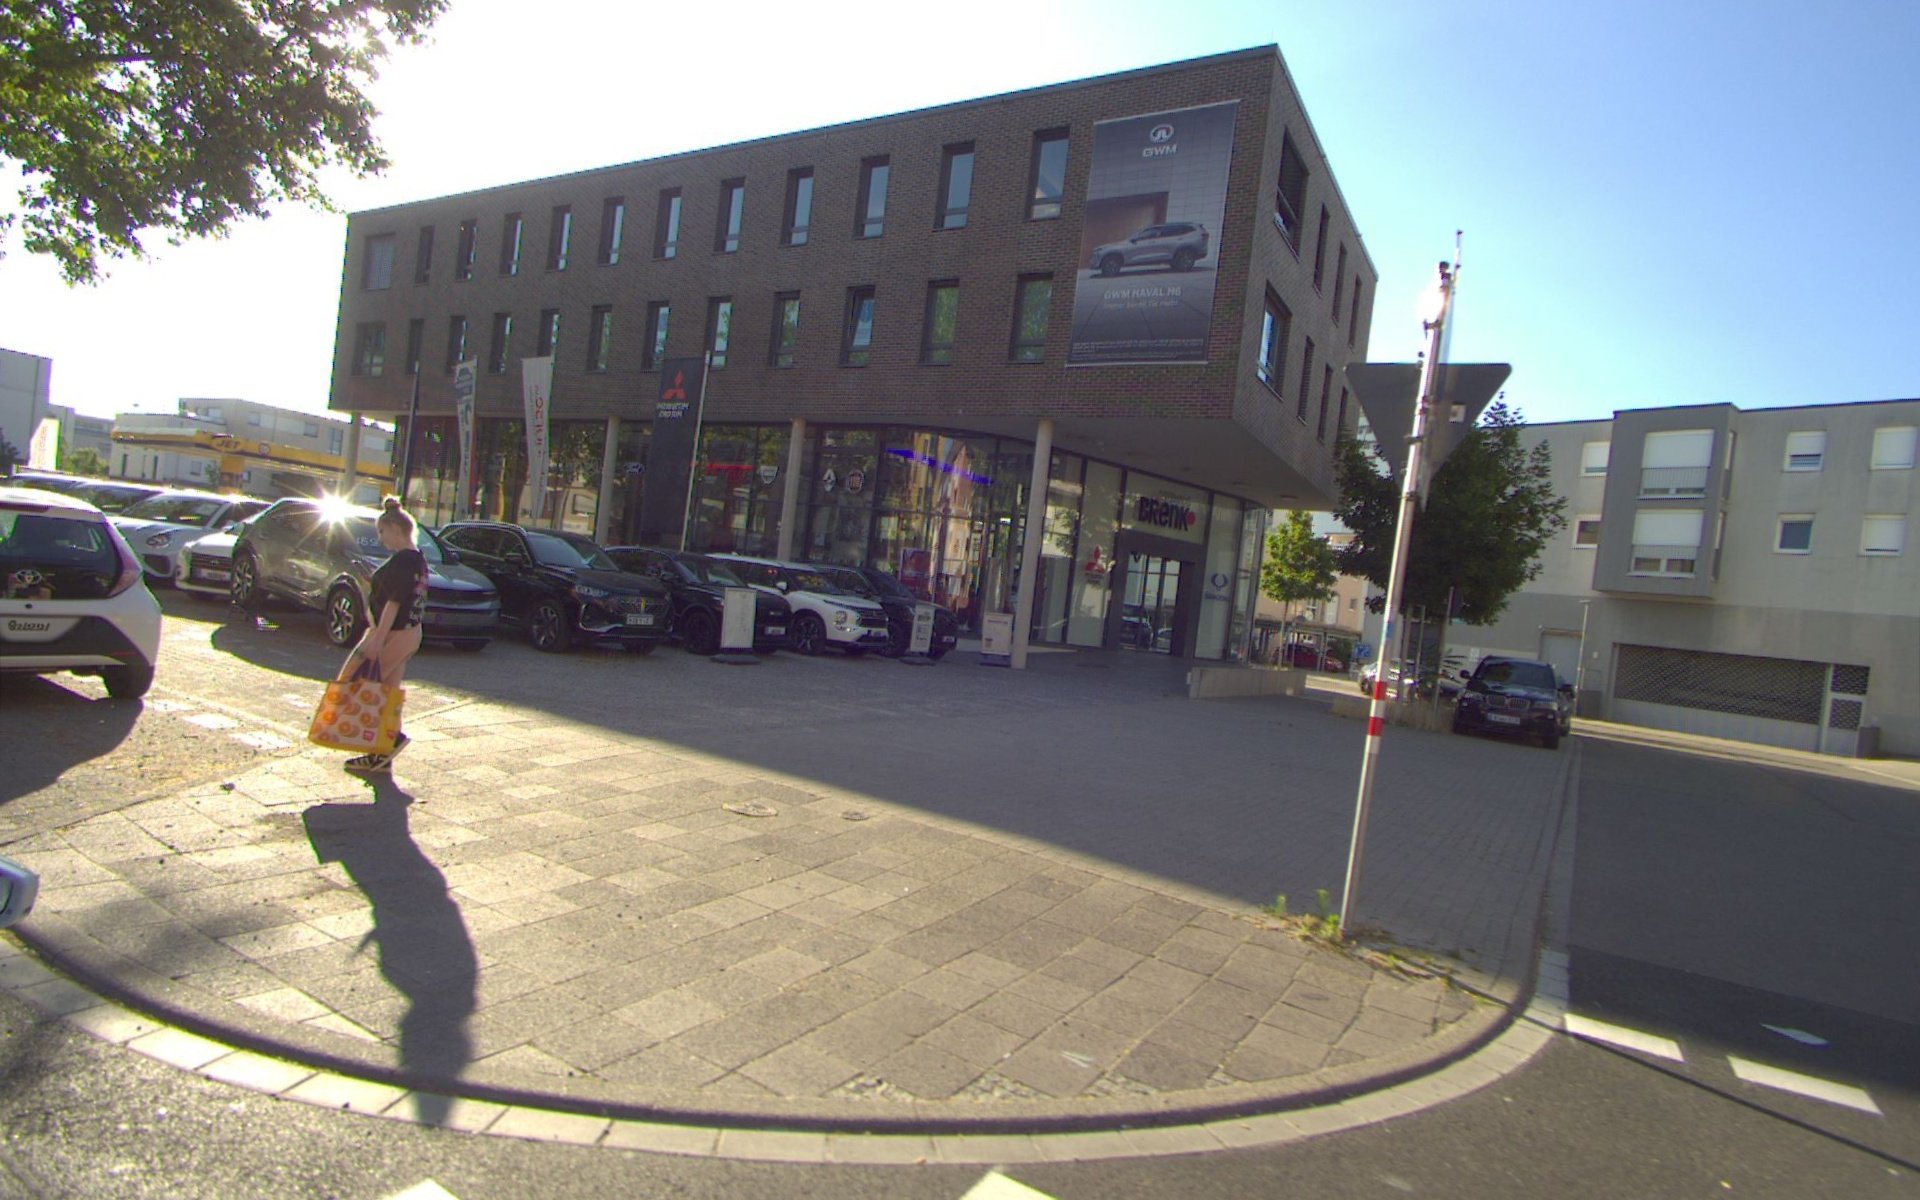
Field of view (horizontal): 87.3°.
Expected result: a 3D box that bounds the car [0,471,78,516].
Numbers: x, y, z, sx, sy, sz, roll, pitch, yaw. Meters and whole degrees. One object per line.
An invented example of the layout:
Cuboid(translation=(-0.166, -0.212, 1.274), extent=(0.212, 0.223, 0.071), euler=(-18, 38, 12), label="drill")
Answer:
Cuboid(translation=(-44.738, -5.121, 47.919), extent=(1.806, 1.733, 3.837), euler=(6, 1, 5), label="car")

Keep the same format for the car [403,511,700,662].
Cuboid(translation=(-6.293, -0.226, 15.381), extent=(4.294, 1.753, 1.828), euler=(7, 1, 30), label="car")

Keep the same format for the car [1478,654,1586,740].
Cuboid(translation=(14.409, 2.333, 25.222), extent=(1.997, 1.684, 4.485), euler=(8, 1, 32), label="car")

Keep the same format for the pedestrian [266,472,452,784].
Cuboid(translation=(-3.637, 0.170, 6.154), extent=(0.683, 1.745, 0.718), euler=(6, 1, -18), label="pedestrian")

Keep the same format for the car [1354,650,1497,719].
Cuboid(translation=(14.685, 2.621, 32.076), extent=(1.767, 1.517, 4.870), euler=(7, 0, -6), label="car")

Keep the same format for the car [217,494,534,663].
Cuboid(translation=(-7.644, -0.304, 13.063), extent=(4.089, 1.691, 1.753), euler=(7, 1, 32), label="car")

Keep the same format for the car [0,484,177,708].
Cuboid(translation=(-7.974, -0.194, 7.803), extent=(3.954, 1.487, 1.636), euler=(6, 2, 31), label="car")

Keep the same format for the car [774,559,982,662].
Cuboid(translation=(-1.855, 0.224, 22.338), extent=(4.112, 1.755, 1.987), euler=(7, 1, 33), label="car")

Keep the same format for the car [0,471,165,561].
Cuboid(translation=(-18.659, -1.719, 20.690), extent=(1.715, 1.599, 3.814), euler=(7, 1, -5), label="car")

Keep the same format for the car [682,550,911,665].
Cuboid(translation=(-3.284, 0.135, 20.089), extent=(4.109, 1.755, 1.878), euler=(7, 1, 30), label="car")

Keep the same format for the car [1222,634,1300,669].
Cuboid(translation=(18.041, 3.094, 60.425), extent=(3.948, 1.642, 1.859), euler=(5, -1, 44), label="car")

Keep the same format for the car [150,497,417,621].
Cuboid(translation=(-10.617, -0.581, 16.159), extent=(1.632, 1.564, 3.817), euler=(7, 0, -1), label="car")

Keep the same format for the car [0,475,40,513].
Cuboid(translation=(-48.883, -5.484, 50.263), extent=(1.806, 1.733, 3.838), euler=(7, 1, 14), label="car")

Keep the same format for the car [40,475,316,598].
Cuboid(translation=(-12.980, -0.994, 17.035), extent=(1.710, 1.630, 3.815), euler=(7, 1, -3), label="car")

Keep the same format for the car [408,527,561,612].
Cuboid(translation=(-10.383, -0.664, 22.291), extent=(1.613, 1.530, 3.815), euler=(7, 1, -3), label="car")

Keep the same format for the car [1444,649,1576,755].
Cuboid(translation=(11.432, 2.009, 20.927), extent=(1.996, 1.684, 4.488), euler=(8, 1, 30), label="car")

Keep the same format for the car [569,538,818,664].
Cuboid(translation=(-4.762, 0.007, 17.848), extent=(4.109, 1.706, 1.729), euler=(7, 1, 30), label="car")

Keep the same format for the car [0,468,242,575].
Cuboid(translation=(-15.562, -1.364, 18.778), extent=(1.710, 1.599, 3.814), euler=(7, 1, -5), label="car")

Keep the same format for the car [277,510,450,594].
Cuboid(translation=(-13.136, -1.025, 22.446), extent=(1.613, 1.530, 3.815), euler=(7, 1, -3), label="car")

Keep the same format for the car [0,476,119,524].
Cuboid(translation=(-40.891, -4.495, 45.804), extent=(1.666, 1.609, 3.837), euler=(6, 1, 5), label="car")
